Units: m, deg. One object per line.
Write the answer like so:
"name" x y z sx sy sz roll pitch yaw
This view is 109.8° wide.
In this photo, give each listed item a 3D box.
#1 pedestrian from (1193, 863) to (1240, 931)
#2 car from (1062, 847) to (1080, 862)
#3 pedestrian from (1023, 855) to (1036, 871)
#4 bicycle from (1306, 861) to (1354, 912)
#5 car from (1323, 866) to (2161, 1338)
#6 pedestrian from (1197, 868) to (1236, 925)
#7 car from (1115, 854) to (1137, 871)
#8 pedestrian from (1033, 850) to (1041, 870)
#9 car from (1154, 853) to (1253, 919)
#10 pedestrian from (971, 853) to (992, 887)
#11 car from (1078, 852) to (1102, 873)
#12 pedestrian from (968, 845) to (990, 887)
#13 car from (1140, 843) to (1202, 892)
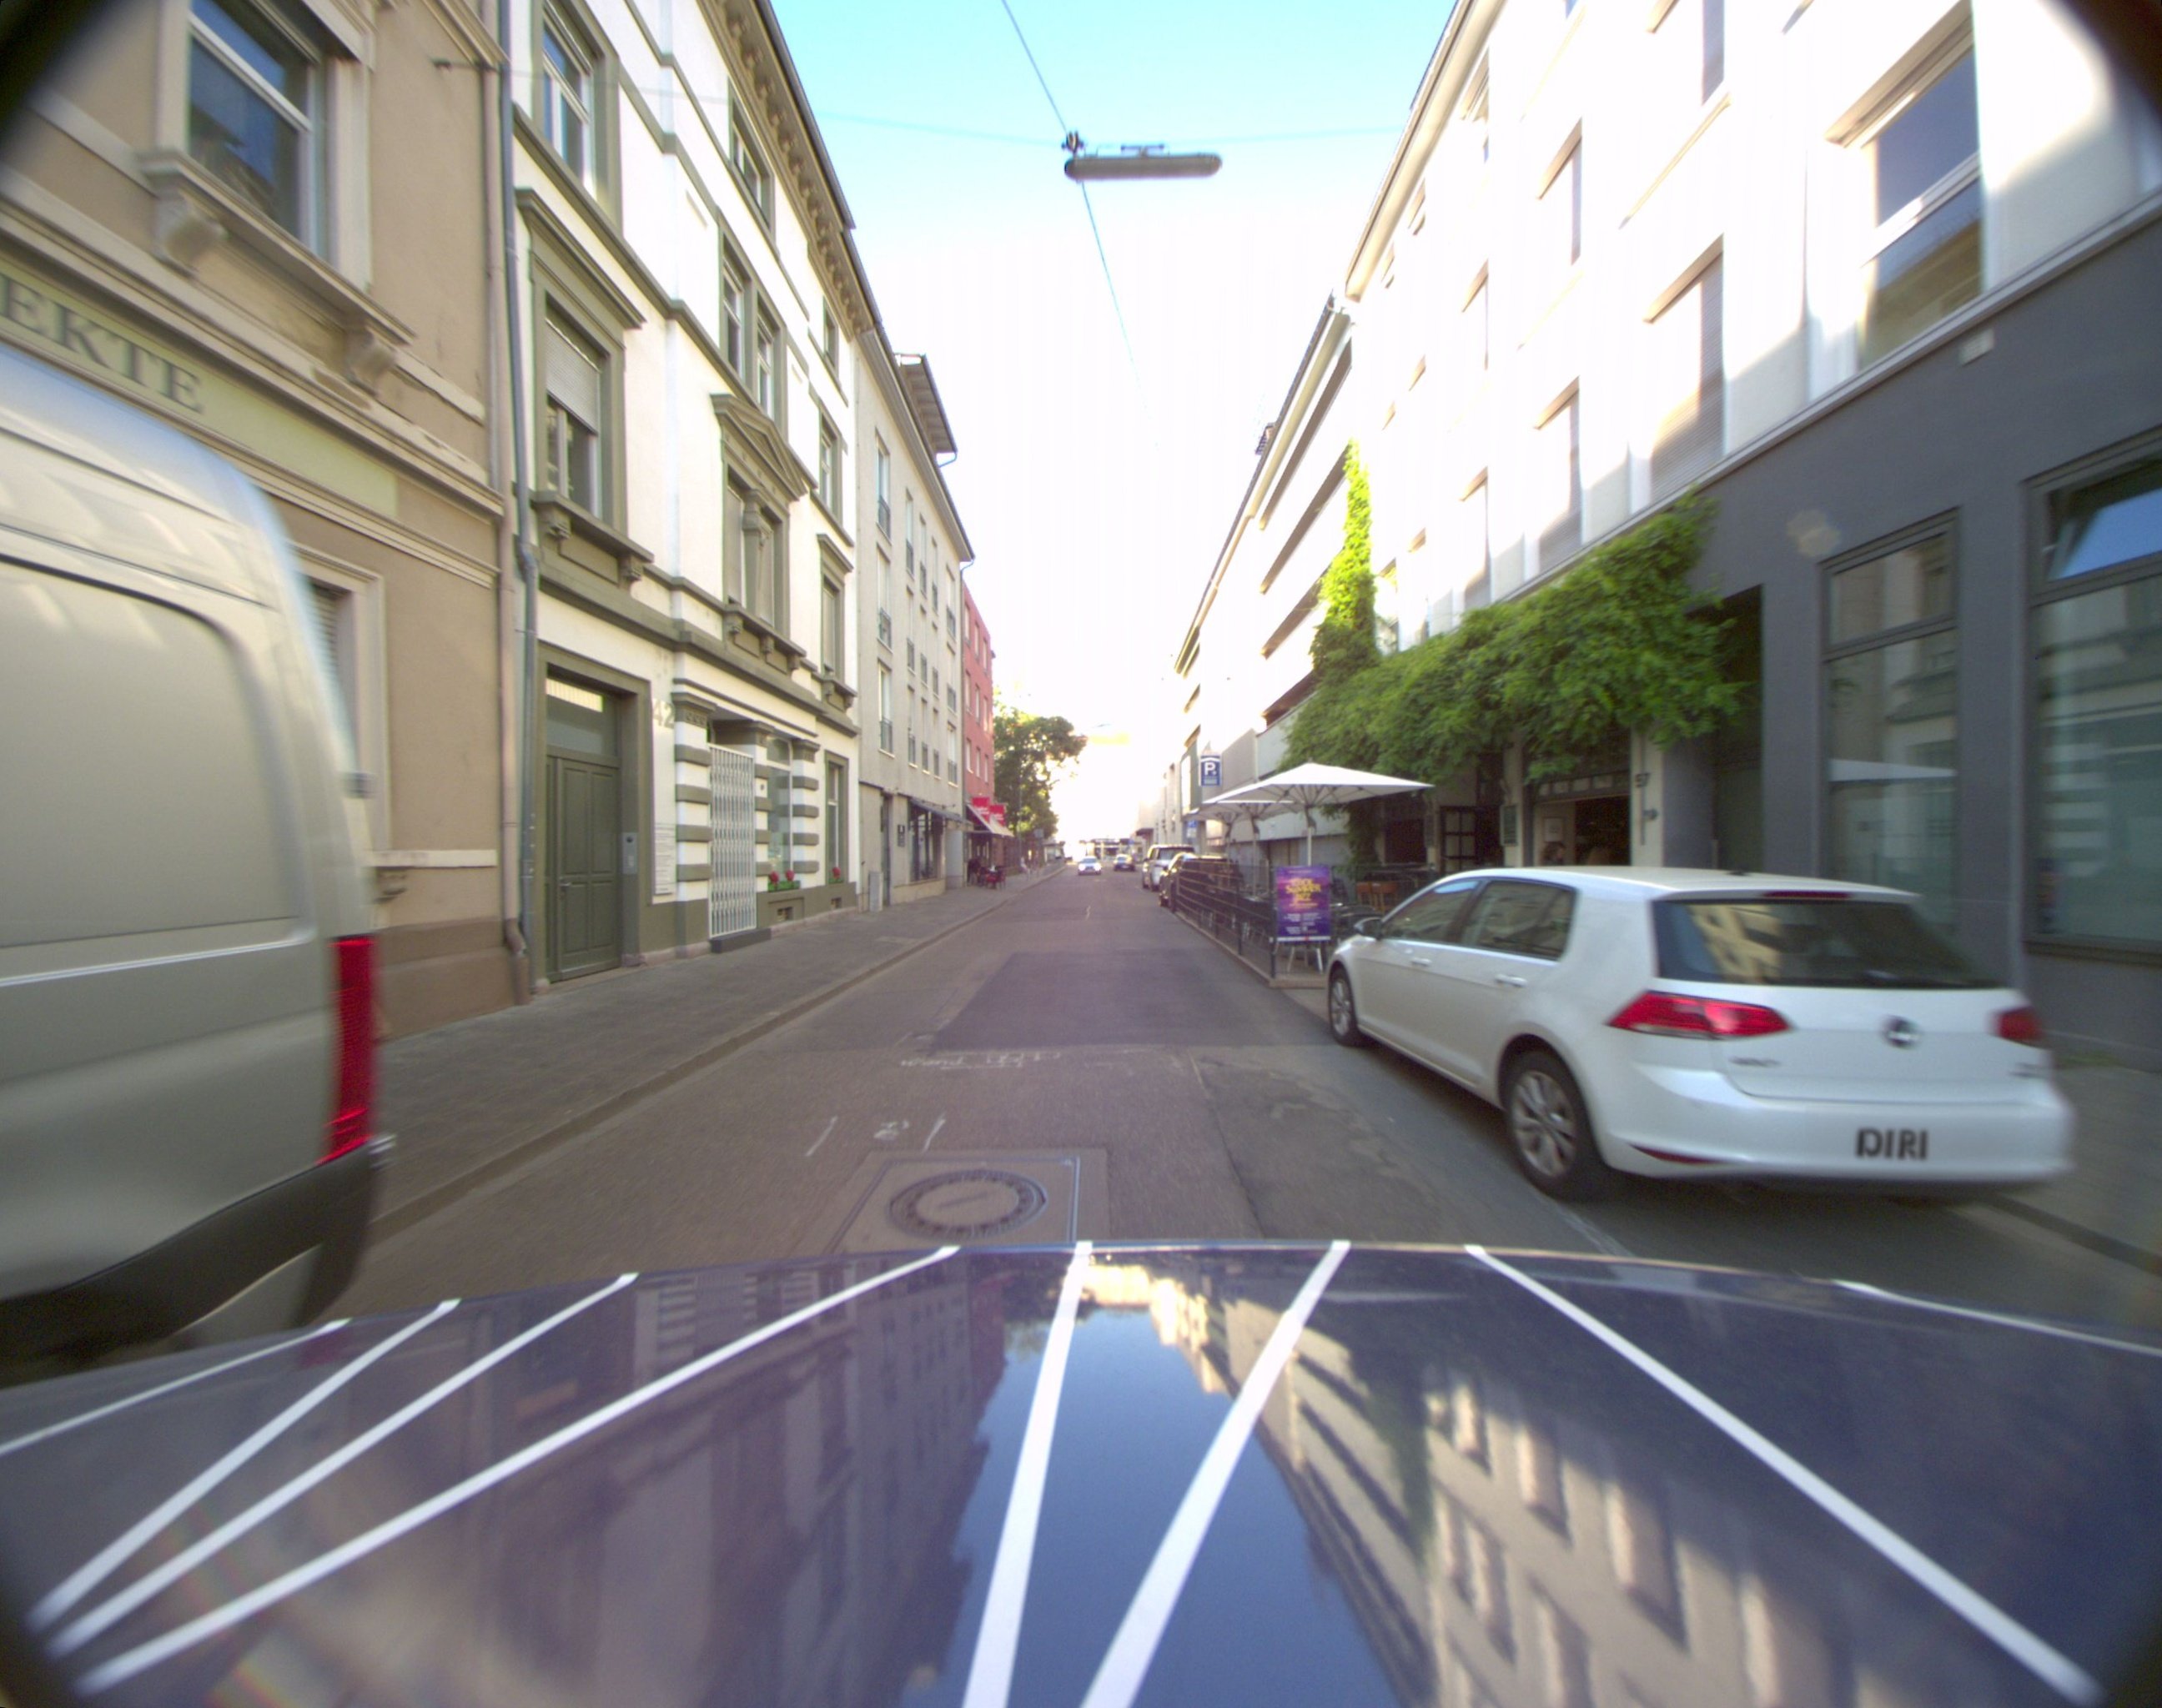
"pedestrian" 2.688 0.834 15.114 0.783 1.279 0.915 -1 1 1
"car" -1.295 0.039 99.896 1.998 2.002 4.001 -1 1 5
"pedestrian" -4.090 0.705 60.399 0.928 1.242 0.362 1 1 -2
"bicycle" 6.181 0.777 18.919 0.644 1.153 1.794 -2 0 2
"car" 2.842 0.836 4.399 1.662 1.406 3.881 -1 1 0
"pedestrian" 2.880 0.885 16.100 0.552 1.159 0.743 0 1 33
"car" 4.186 0.727 70.507 1.998 1.409 4.559 1 1 4
"pedestrian" -3.500 0.479 60.495 0.437 1.637 0.557 1 1 8
"car" 3.244 0.782 21.110 1.886 1.559 4.770 1 0 -1
"pedestrian" -4.378 0.704 33.354 0.827 1.477 0.661 0 1 0
"car" 0.722 0.657 59.592 1.788 1.515 4.000 -3 0 1
"pedestrian" -4.430 0.512 33.053 0.661 1.782 0.728 2 1 -28
"car" 3.749 0.514 32.579 1.999 1.928 4.849 1 0 -1
